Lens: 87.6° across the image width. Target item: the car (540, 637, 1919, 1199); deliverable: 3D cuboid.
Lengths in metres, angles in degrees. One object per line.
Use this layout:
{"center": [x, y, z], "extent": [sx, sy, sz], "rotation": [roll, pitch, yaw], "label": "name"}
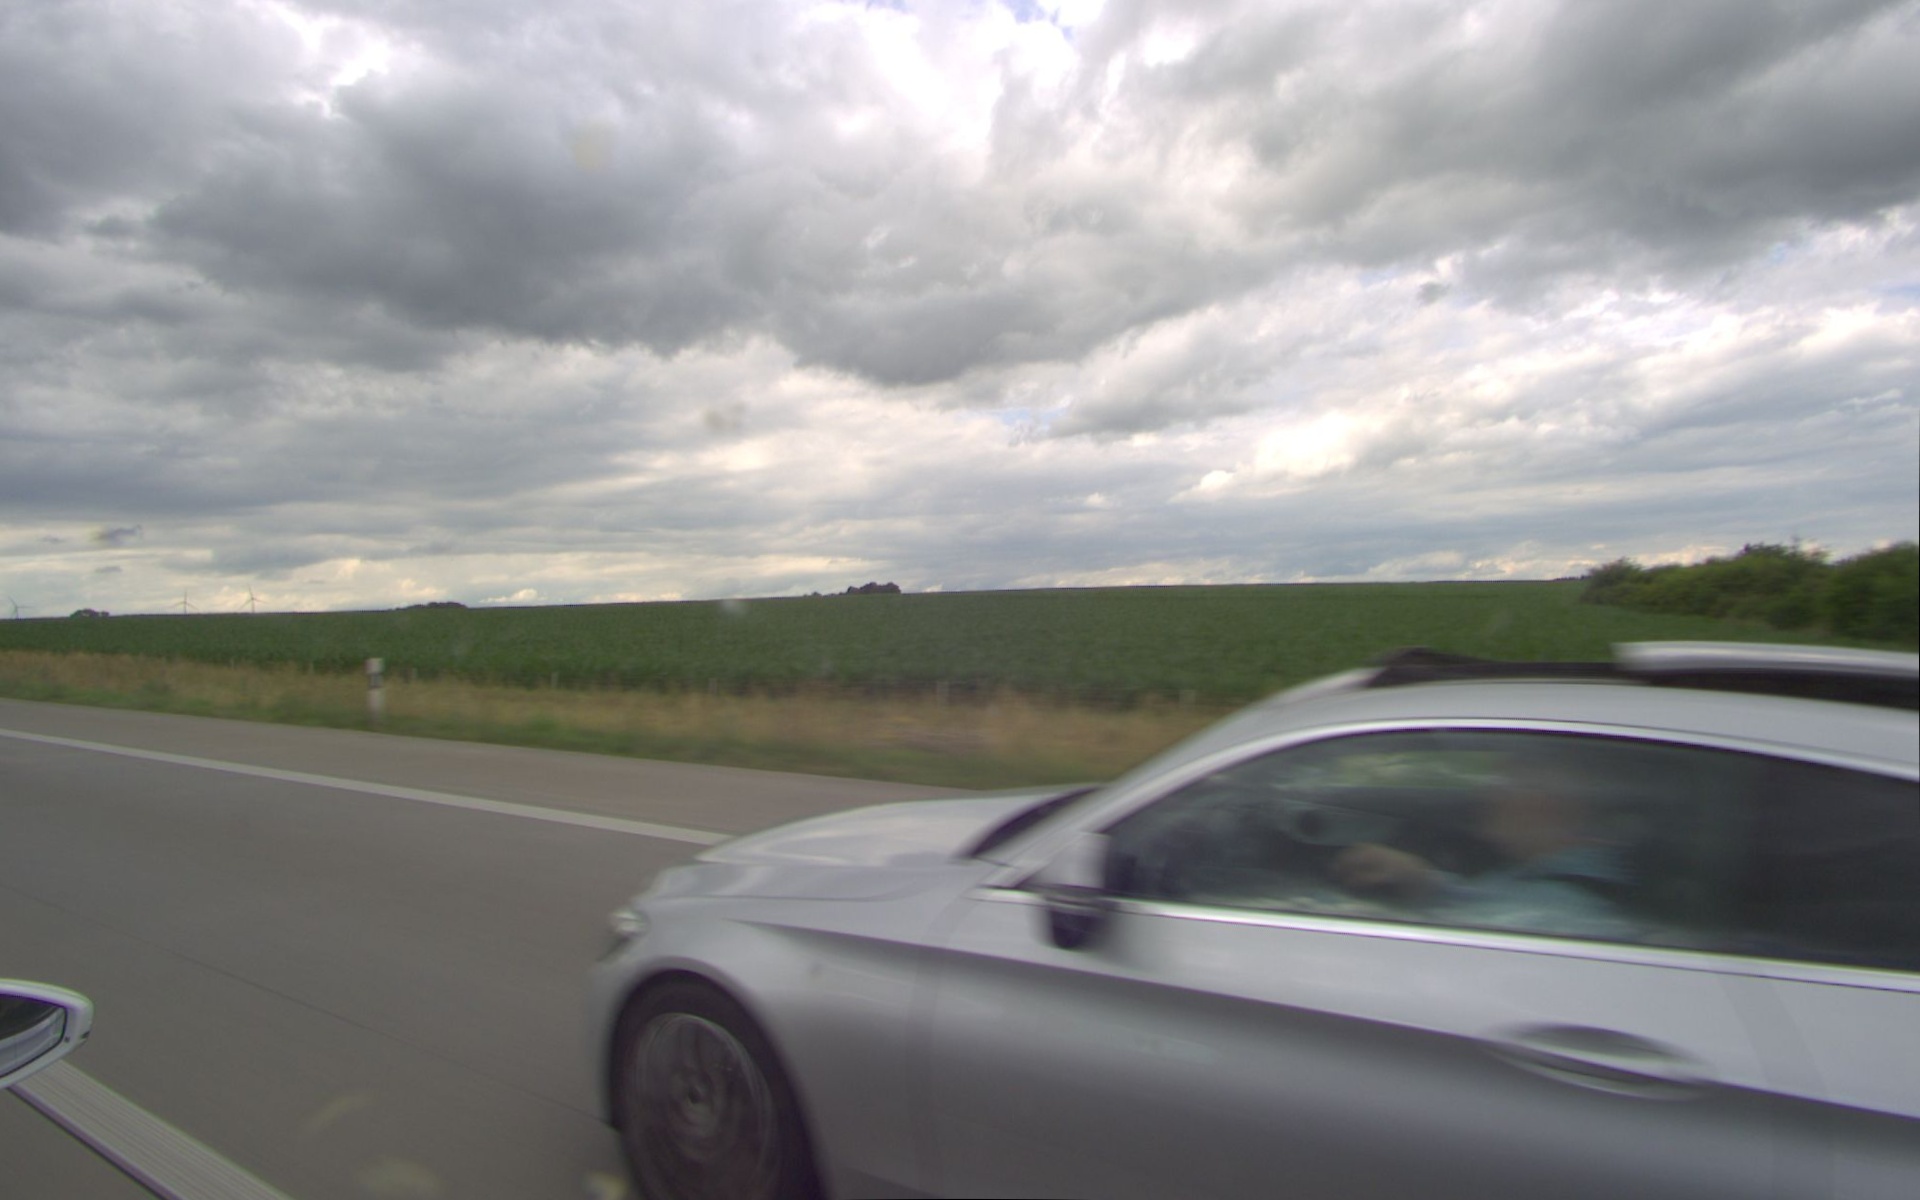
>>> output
{"center": [1.132, 0.805, 2.209], "extent": [4.162, 1.421, 1.785], "rotation": [-2, -2, 33], "label": "car"}
